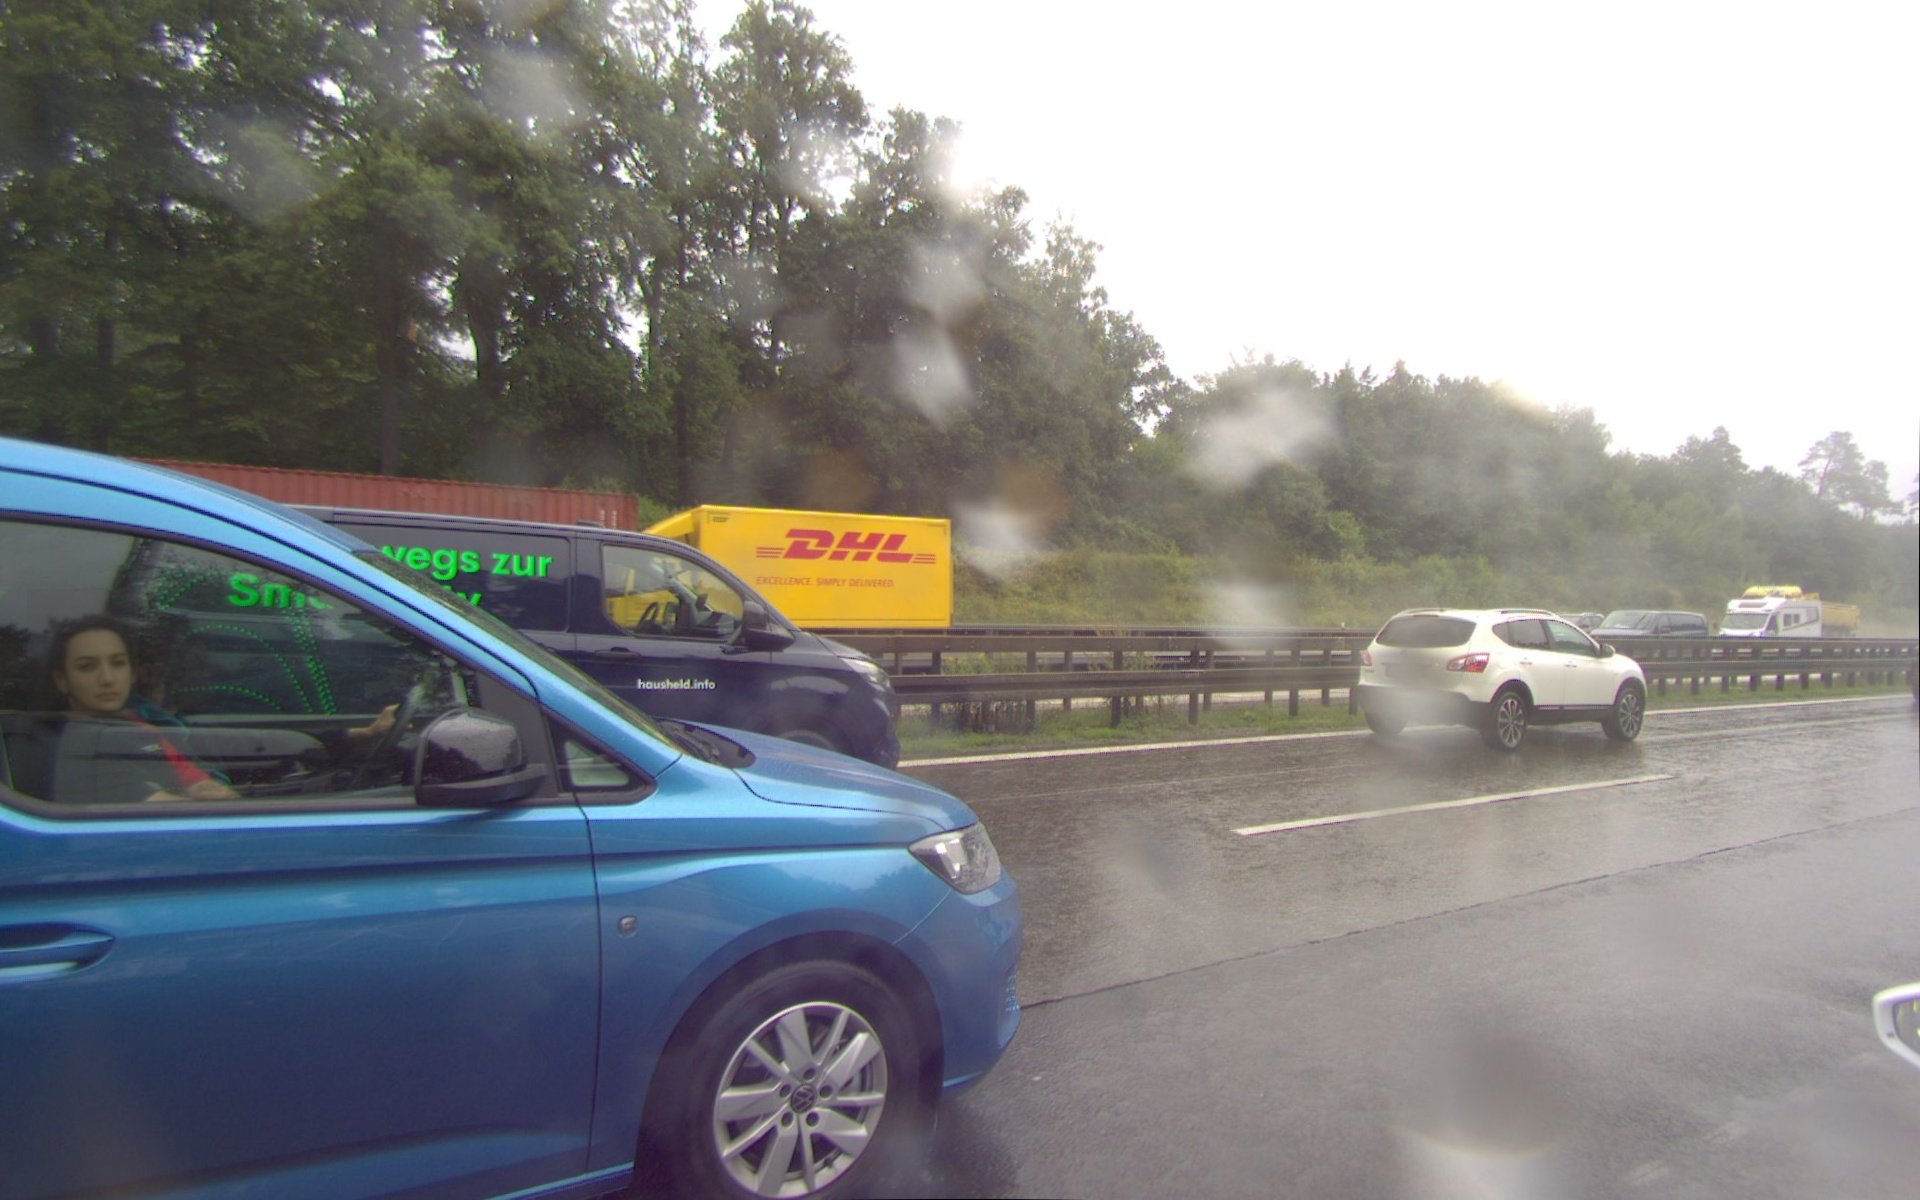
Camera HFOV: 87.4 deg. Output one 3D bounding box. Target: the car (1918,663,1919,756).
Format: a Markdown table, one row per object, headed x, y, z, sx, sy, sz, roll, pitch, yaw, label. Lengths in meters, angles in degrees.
| x | y | z | sx | sy | sz | roll | pitch | yaw | label |
| --- | --- | --- | --- | --- | --- | --- | --- | --- | --- |
| 14.092 | 0.594 | 12.337 | 4.960 | 2.607 | 2.201 | 1 | 0 | -32 | car |

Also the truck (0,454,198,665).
| x | y | z | sx | sy | sz | roll | pitch | yaw | label |
| --- | --- | --- | --- | --- | --- | --- | --- | --- | --- |
| -18.747 | -0.757 | 19.302 | 6.191 | 3.869 | 2.691 | 1 | 0 | -31 | truck |

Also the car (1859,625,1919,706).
| x | y | z | sx | sy | sz | roll | pitch | yaw | label |
| --- | --- | --- | --- | --- | --- | --- | --- | --- | --- |
| 21.322 | 1.376 | 21.488 | 4.413 | 1.613 | 1.837 | 1 | 0 | -30 | car |

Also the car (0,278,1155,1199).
| x | y | z | sx | sy | sz | roll | pitch | yaw | label |
| --- | --- | --- | --- | --- | --- | --- | --- | --- | --- |
| -2.193 | 0.455 | 2.481 | 4.953 | 1.937 | 2.260 | 1 | 0 | -28 | car |

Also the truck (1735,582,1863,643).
| x | y | z | sx | sy | sz | roll | pitch | yaw | label |
| --- | --- | --- | --- | --- | --- | --- | --- | --- | --- |
| 52.261 | 0.850 | 62.439 | 11.586 | 3.530 | 2.506 | 1 | 0 | -31 | truck |

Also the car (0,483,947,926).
| x | y | z | sx | sy | sz | roll | pitch | yaw | label |
| --- | --- | --- | --- | --- | --- | --- | --- | --- | --- |
| -2.830 | 0.506 | 6.438 | 5.181 | 1.970 | 1.982 | 1 | 0 | -30 | car |

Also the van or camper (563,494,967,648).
| x | y | z | sx | sy | sz | roll | pitch | yaw | label |
| --- | --- | --- | --- | --- | --- | --- | --- | --- | --- |
| -4.298 | -0.480 | 23.138 | 8.684 | 3.018 | 2.828 | 1 | 0 | -31 | van or camper |

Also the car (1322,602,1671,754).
| x | y | z | sx | sy | sz | roll | pitch | yaw | label |
| --- | --- | --- | --- | --- | --- | --- | --- | --- | --- |
| 6.825 | 0.871 | 12.674 | 4.414 | 1.613 | 1.837 | 1 | 0 | -30 | car |

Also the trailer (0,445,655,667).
| x | y | z | sx | sy | sz | roll | pitch | yaw | label |
| --- | --- | --- | --- | --- | --- | --- | --- | --- | --- |
| -13.374 | -0.690 | 22.505 | 12.232 | 4.079 | 2.605 | 1 | 0 | -31 | trailer |

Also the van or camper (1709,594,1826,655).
| x | y | z | sx | sy | sz | roll | pitch | yaw | label |
| --- | --- | --- | --- | --- | --- | --- | --- | --- | --- |
| 40.975 | 1.235 | 50.878 | 7.914 | 2.908 | 2.154 | 1 | 0 | -32 | van or camper |

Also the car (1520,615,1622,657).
| x | y | z | sx | sy | sz | roll | pitch | yaw | label |
| --- | --- | --- | --- | --- | --- | --- | --- | --- | --- |
| 24.529 | 1.435 | 40.303 | 3.954 | 1.600 | 1.836 | 1 | 0 | -31 | car |
